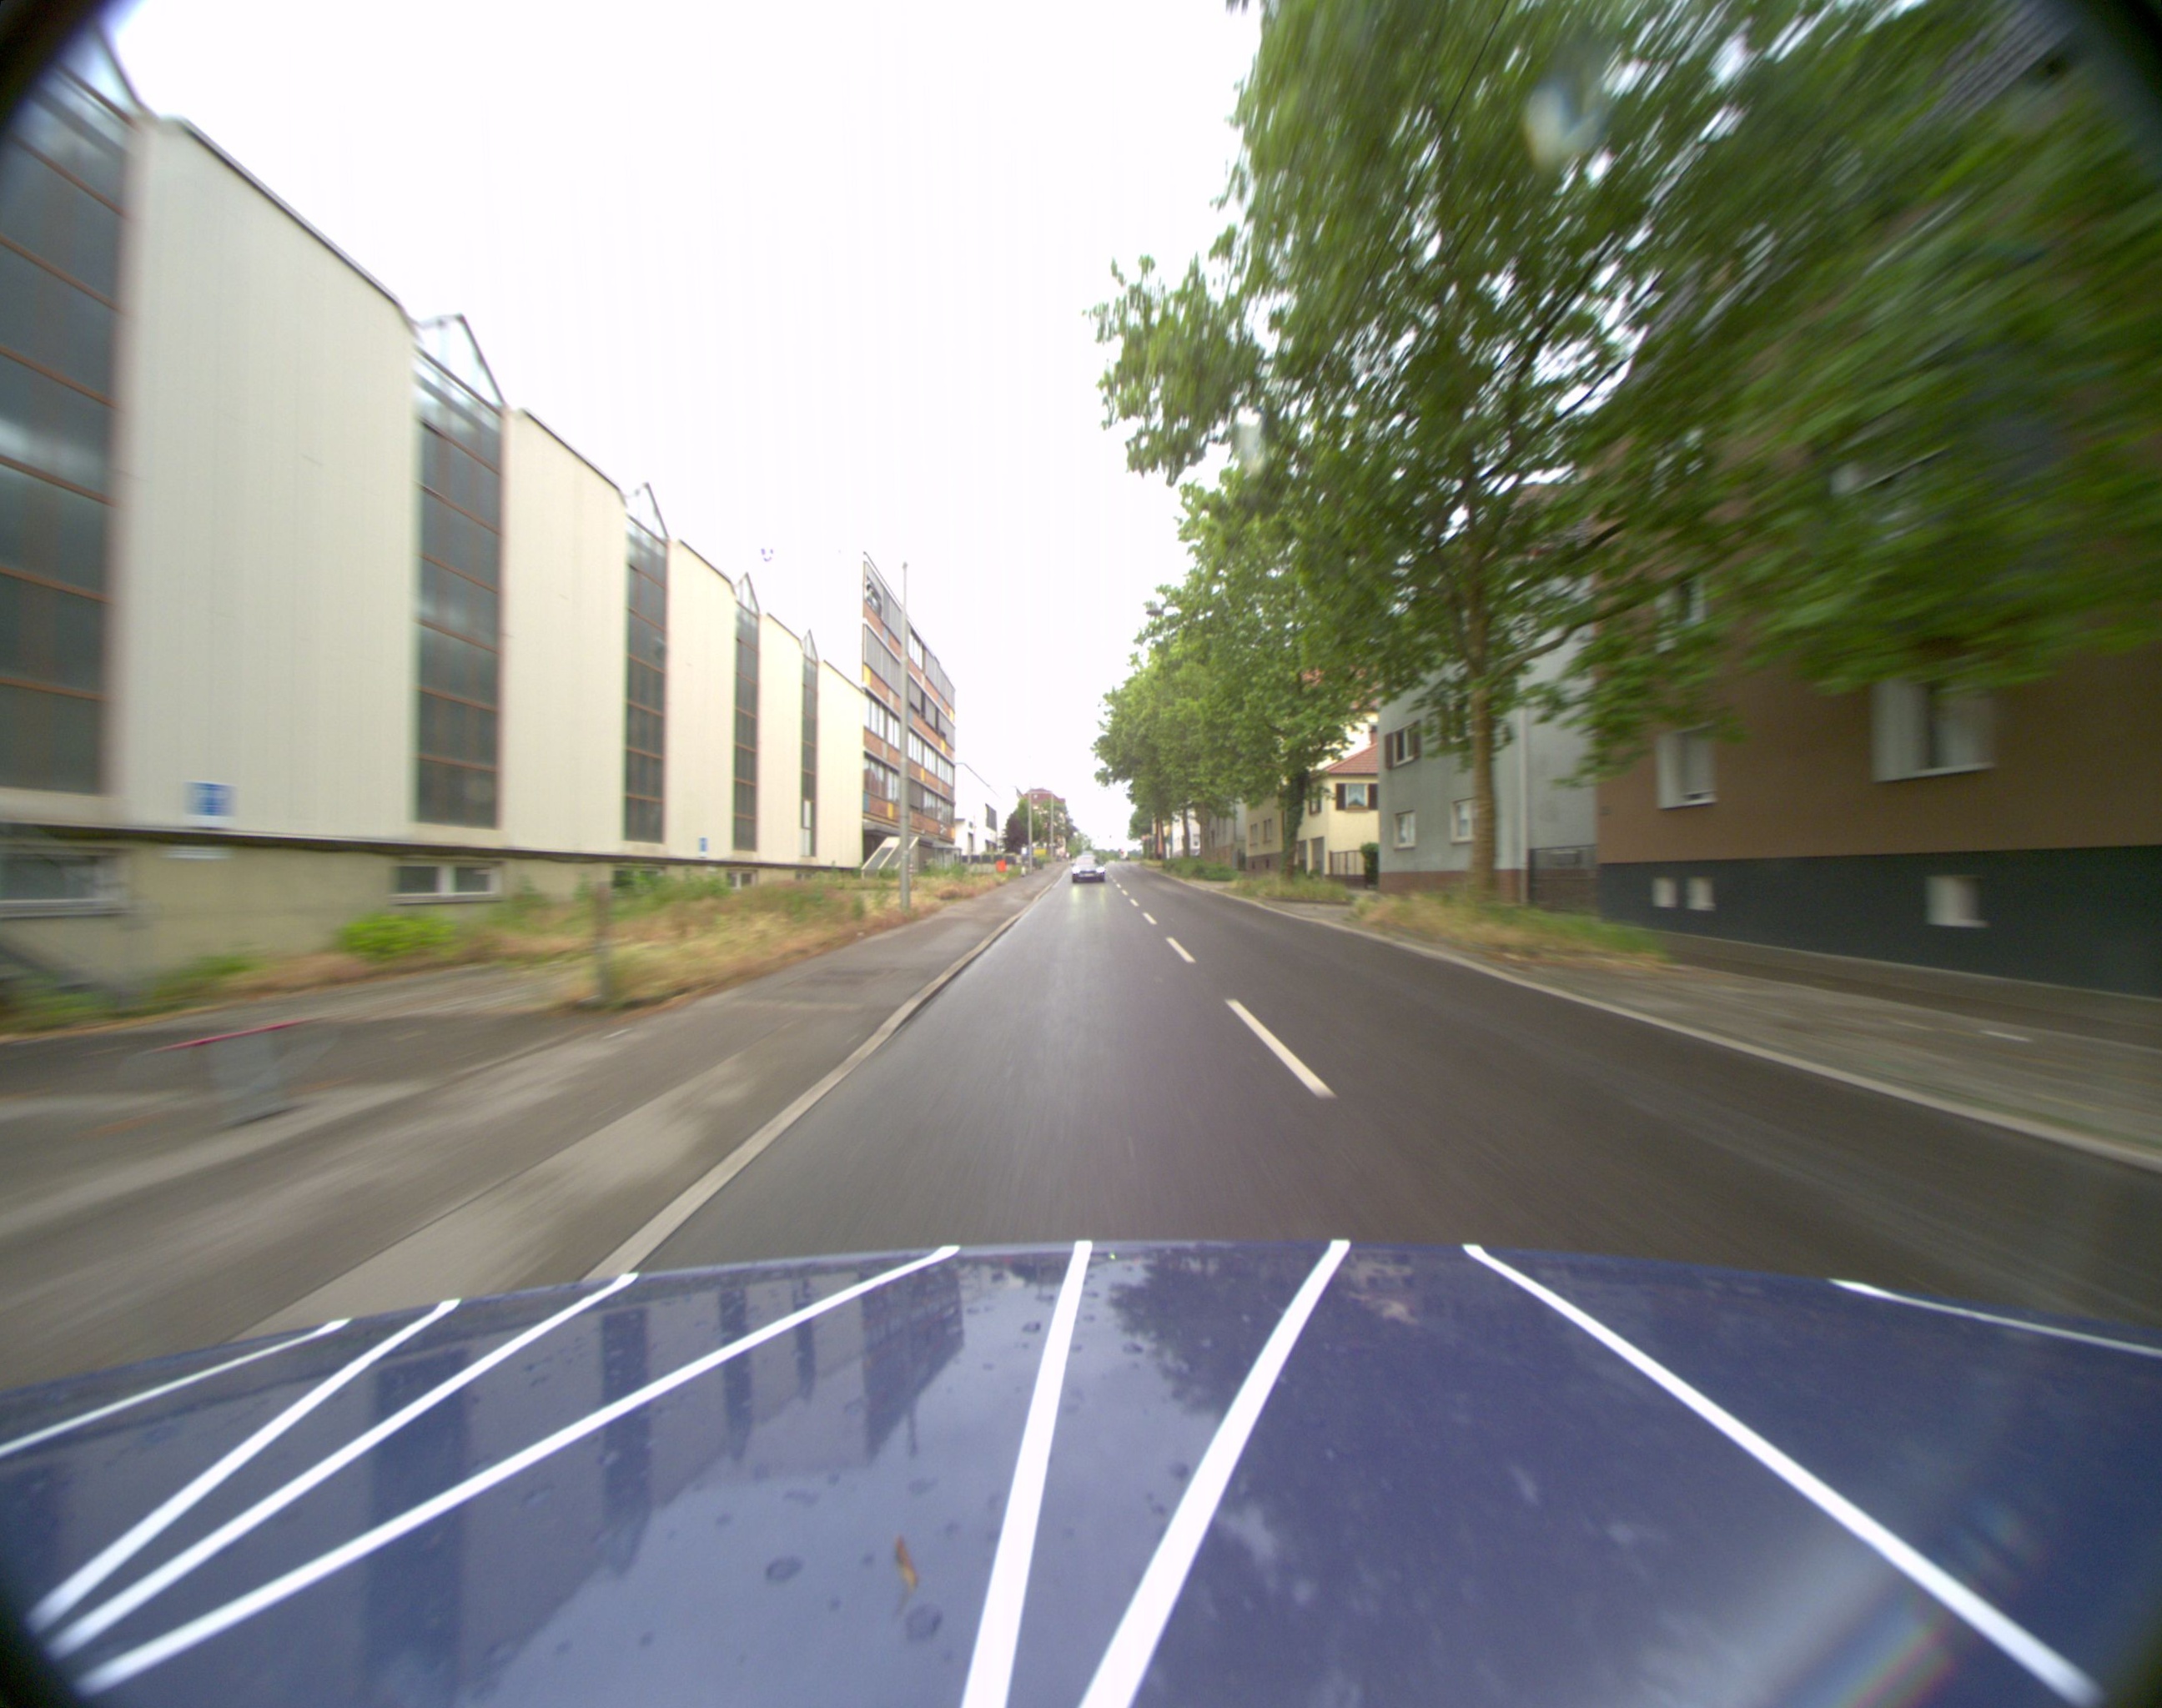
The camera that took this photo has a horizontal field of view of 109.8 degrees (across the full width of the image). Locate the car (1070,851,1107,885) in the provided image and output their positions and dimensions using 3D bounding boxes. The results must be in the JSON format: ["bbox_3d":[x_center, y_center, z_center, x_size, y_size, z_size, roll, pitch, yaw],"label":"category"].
[{"bbox_3d":[0.409,0.755,42.573,1.949,1.644,3.857,-1,2,0],"label":"car"}]
